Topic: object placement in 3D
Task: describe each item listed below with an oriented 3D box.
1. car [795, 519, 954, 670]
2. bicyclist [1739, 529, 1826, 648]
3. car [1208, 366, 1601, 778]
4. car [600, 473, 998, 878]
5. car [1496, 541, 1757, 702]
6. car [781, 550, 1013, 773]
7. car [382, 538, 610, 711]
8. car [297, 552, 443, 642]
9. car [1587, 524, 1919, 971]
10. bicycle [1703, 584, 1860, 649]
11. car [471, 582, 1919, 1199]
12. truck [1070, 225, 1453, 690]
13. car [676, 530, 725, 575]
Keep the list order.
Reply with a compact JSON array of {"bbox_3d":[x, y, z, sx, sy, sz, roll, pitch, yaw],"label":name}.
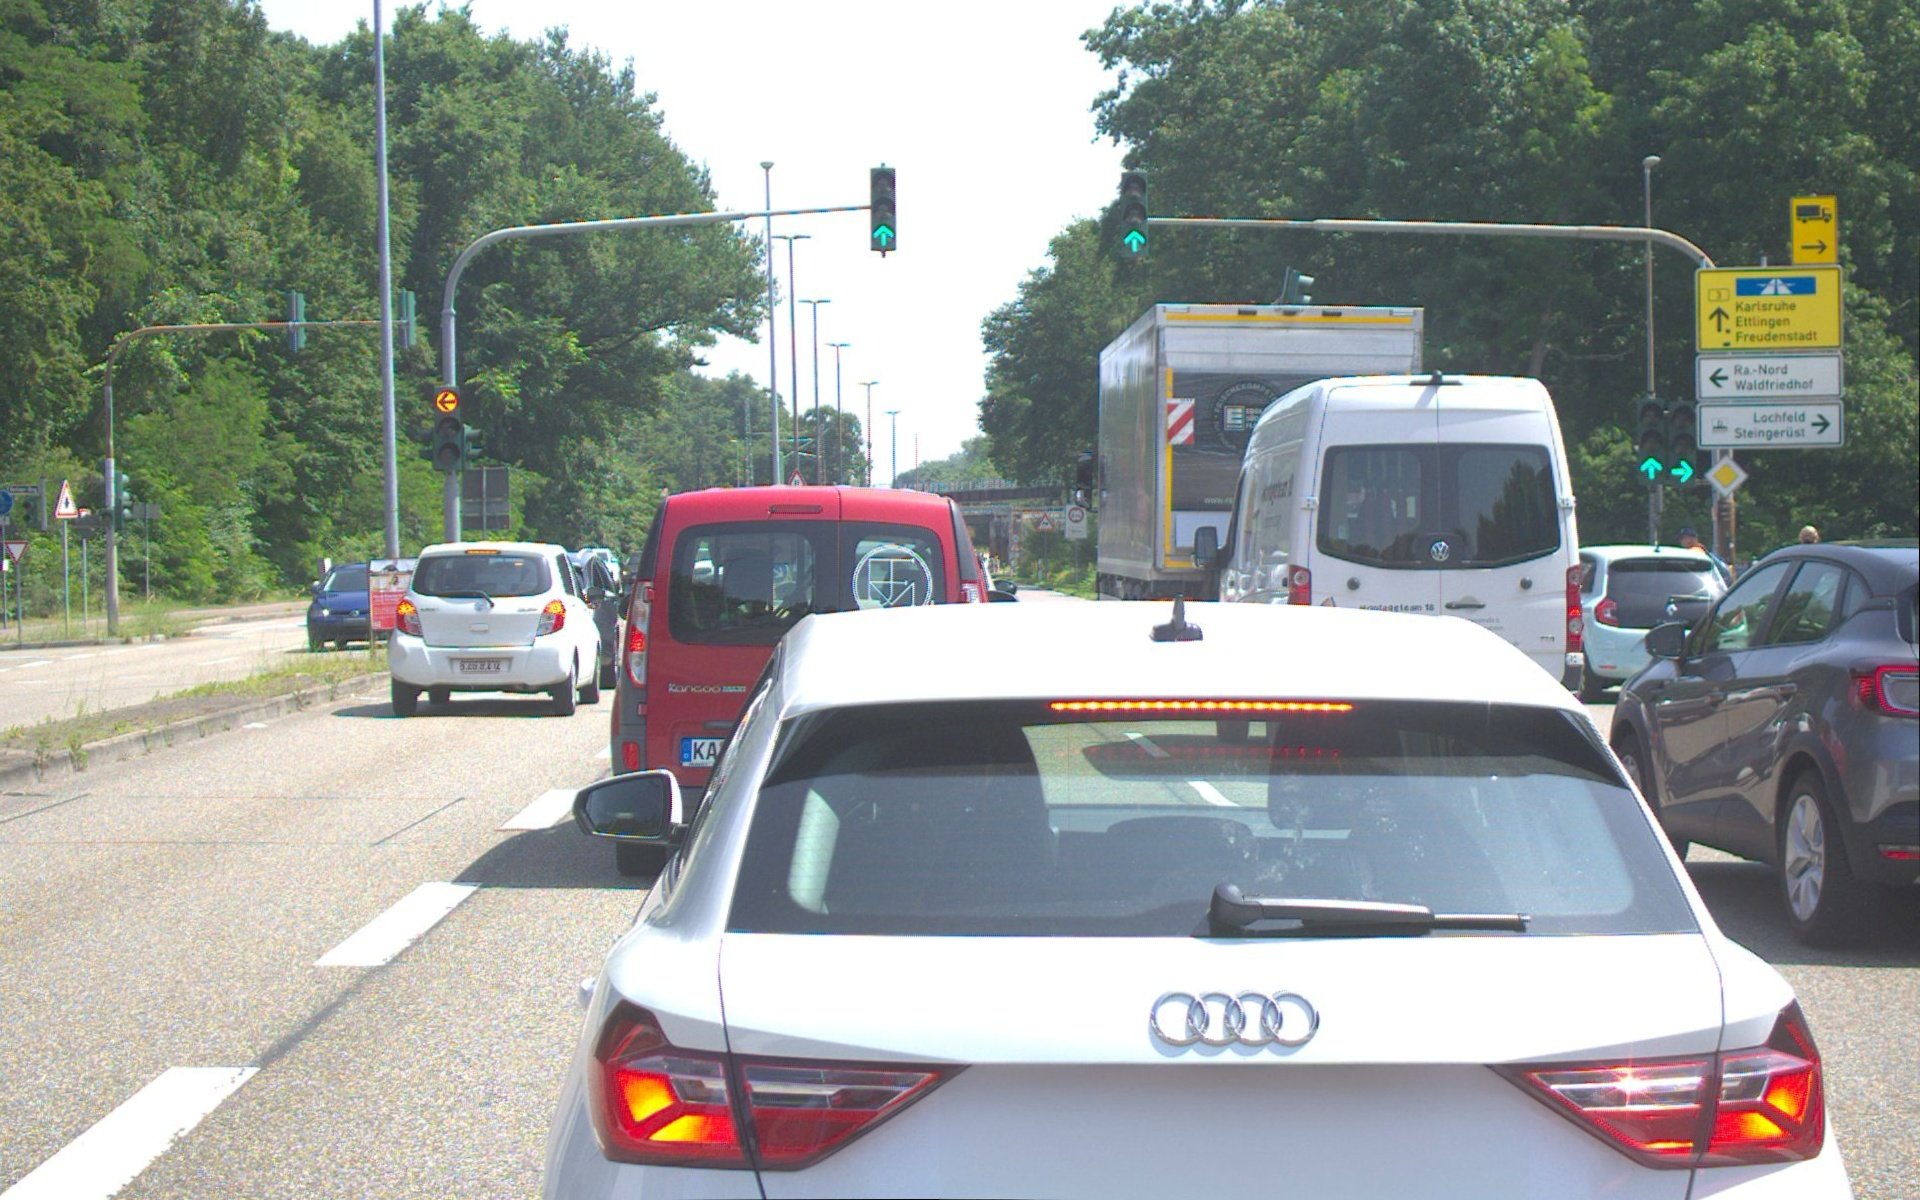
[{"bbox_3d":[-1.010,-0.092,39.031,1.711,1.626,4.092,0,1,-2],"label":"car"},{"bbox_3d":[10.124,-0.142,42.304,0.828,1.434,0.598,0,1,45],"label":"bicyclist"},{"bbox_3d":[3.024,-0.223,24.441,2.031,2.635,4.846,0,1,-2],"label":"car"},{"bbox_3d":[-0.778,0.288,16.862,1.711,1.742,4.092,0,1,-2],"label":"car"},{"bbox_3d":[6.719,0.171,35.057,1.711,1.541,4.092,0,1,-2],"label":"car"},{"bbox_3d":[-0.548,0.424,27.404,1.711,1.626,4.092,0,1,-2],"label":"car"},{"bbox_3d":[-4.211,0.173,31.681,1.711,1.487,4.092,0,1,-2],"label":"car"},{"bbox_3d":[-9.976,-0.075,58.404,1.804,1.331,4.000,-4,1,-1],"label":"car"},{"bbox_3d":[3.912,0.487,14.262,1.711,1.587,4.092,0,1,-2],"label":"car"},{"bbox_3d":[10.110,0.200,42.340,1.826,0.763,0.599,0,1,45],"label":"bicycle"},{"bbox_3d":[0.222,0.686,5.931,1.711,1.381,4.092,0,1,-2],"label":"car"},{"bbox_3d":[3.065,-1.466,38.643,3.088,4.418,11.581,0,1,-1],"label":"truck"},{"bbox_3d":[-11.040,-2.028,146.383,1.872,1.854,4.000,-1,1,-2],"label":"car"}]
